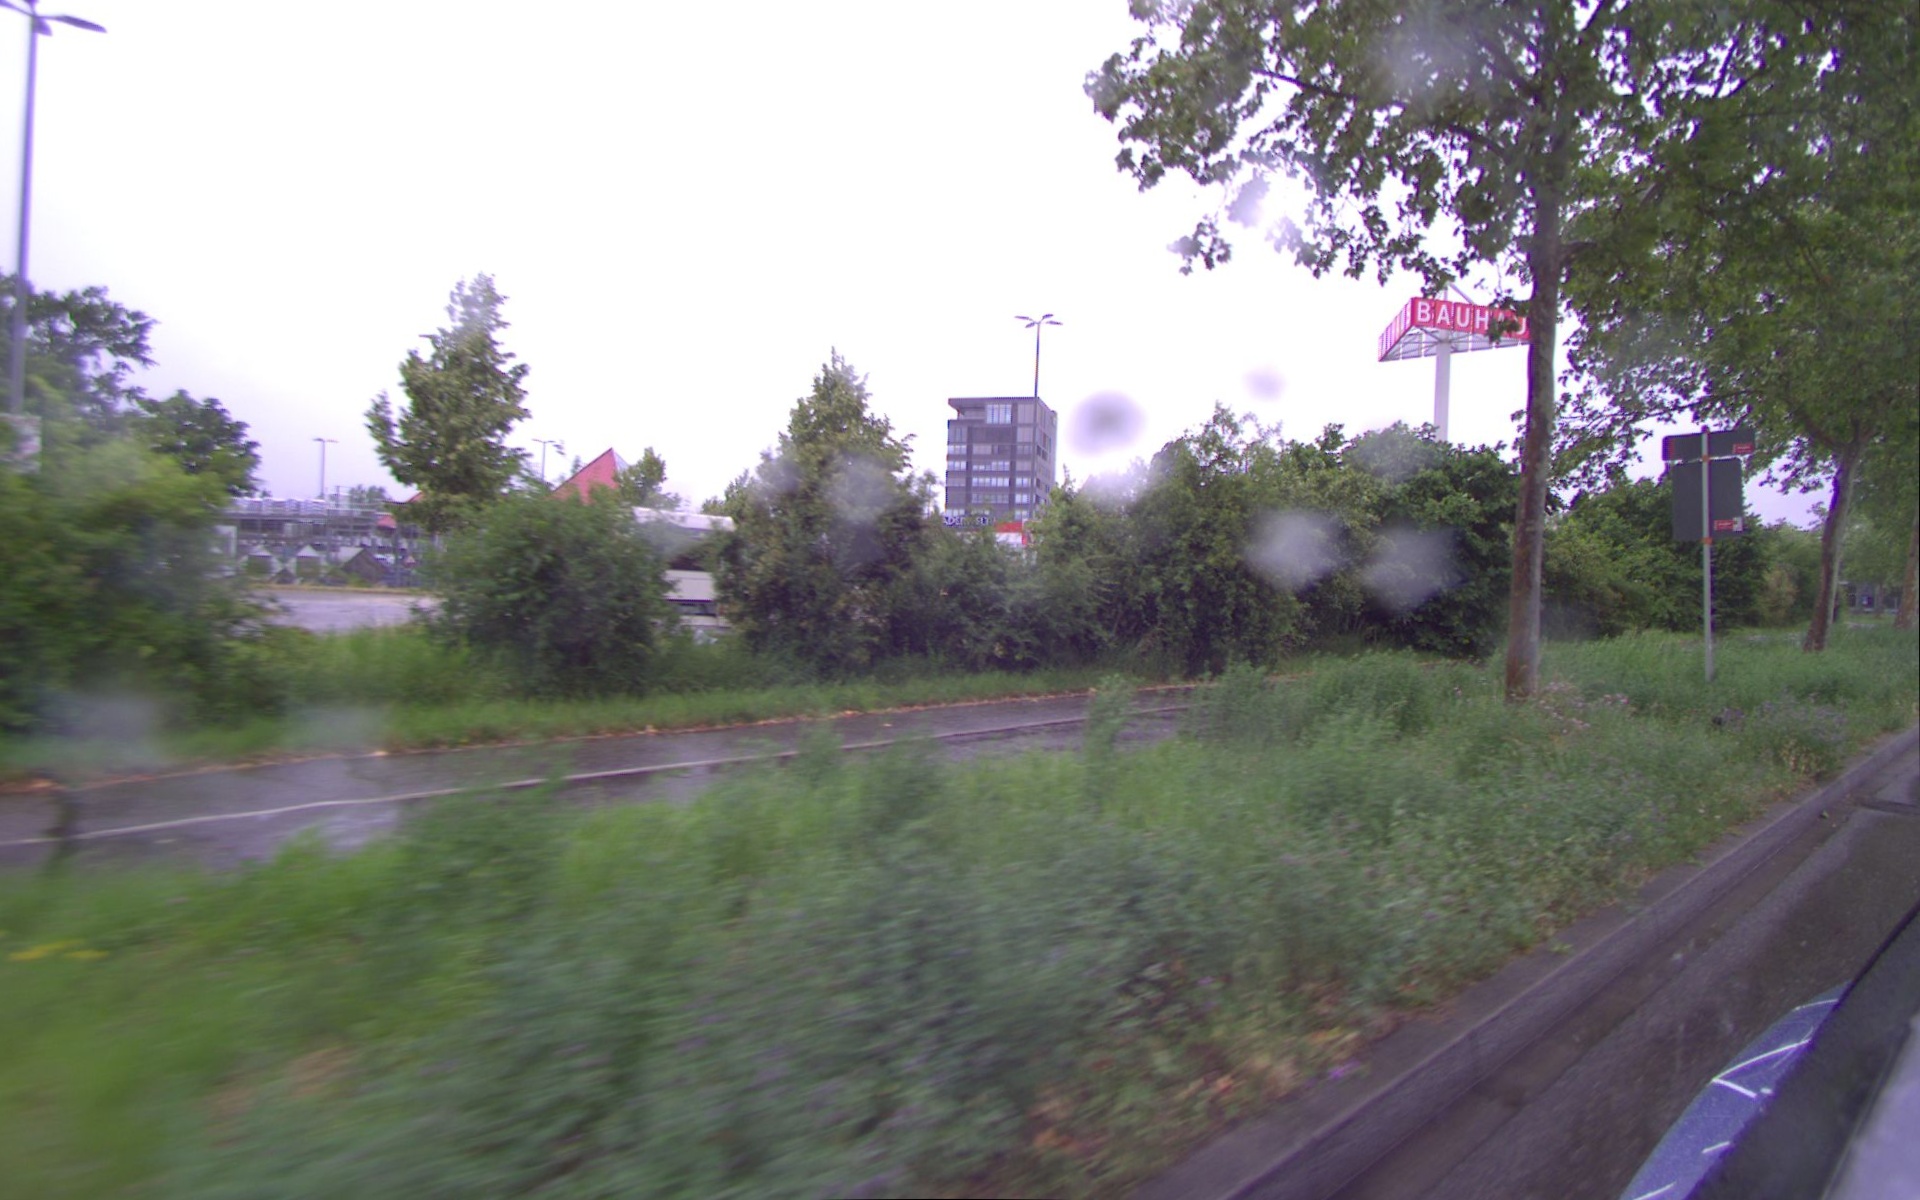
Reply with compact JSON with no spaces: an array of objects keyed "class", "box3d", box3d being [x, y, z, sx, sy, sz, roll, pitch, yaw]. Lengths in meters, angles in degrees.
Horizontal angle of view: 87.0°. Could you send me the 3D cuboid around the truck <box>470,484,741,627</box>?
[{"class":"truck","box3d":[-7.062,-0.764,19.611,6.529,2.333,2.186,0,1,43]}]
